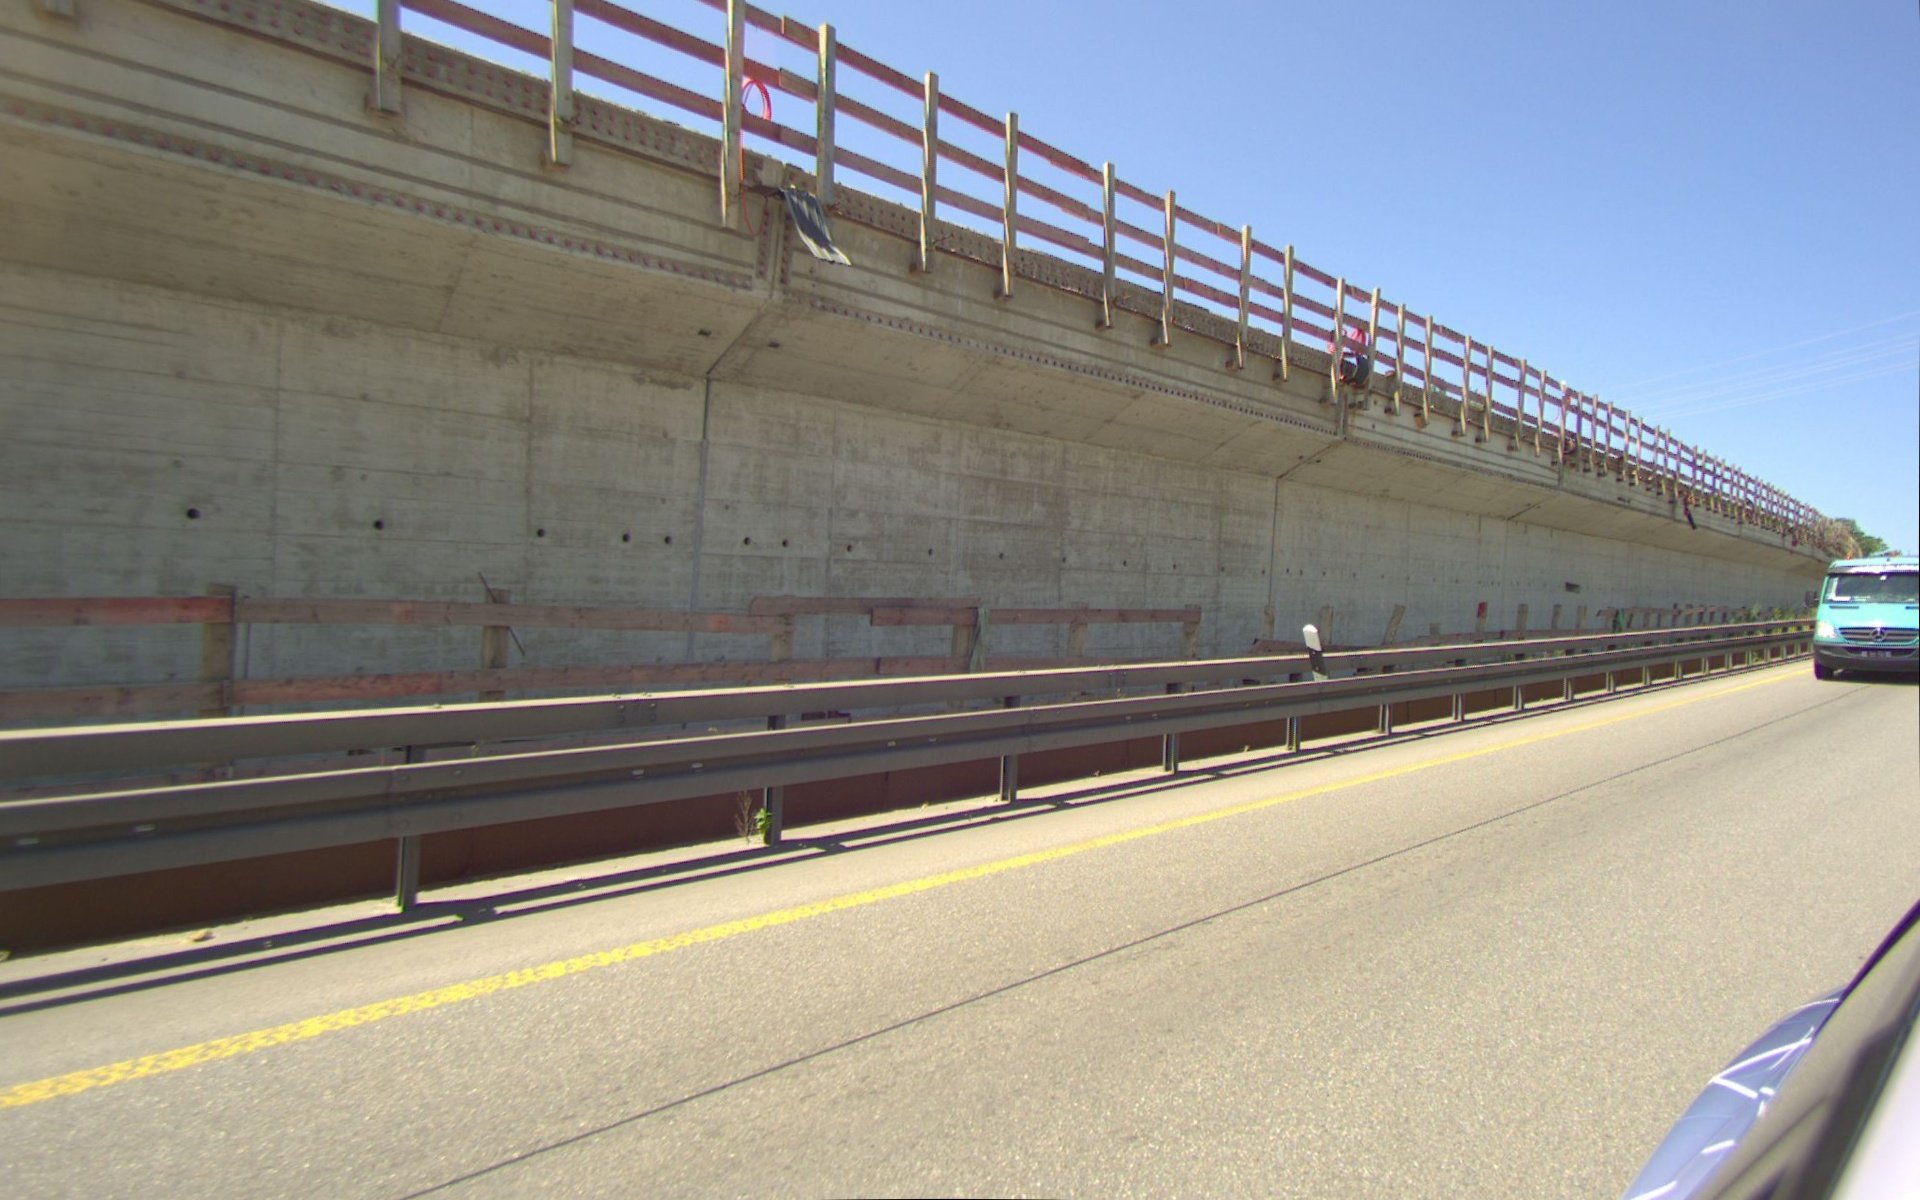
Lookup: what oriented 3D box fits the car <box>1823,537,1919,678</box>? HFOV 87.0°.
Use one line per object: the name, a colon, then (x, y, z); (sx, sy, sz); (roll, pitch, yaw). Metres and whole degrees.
car: (18.865, 0.108, 19.956); (7.087, 2.411, 1.966); (0, 0, -42)
